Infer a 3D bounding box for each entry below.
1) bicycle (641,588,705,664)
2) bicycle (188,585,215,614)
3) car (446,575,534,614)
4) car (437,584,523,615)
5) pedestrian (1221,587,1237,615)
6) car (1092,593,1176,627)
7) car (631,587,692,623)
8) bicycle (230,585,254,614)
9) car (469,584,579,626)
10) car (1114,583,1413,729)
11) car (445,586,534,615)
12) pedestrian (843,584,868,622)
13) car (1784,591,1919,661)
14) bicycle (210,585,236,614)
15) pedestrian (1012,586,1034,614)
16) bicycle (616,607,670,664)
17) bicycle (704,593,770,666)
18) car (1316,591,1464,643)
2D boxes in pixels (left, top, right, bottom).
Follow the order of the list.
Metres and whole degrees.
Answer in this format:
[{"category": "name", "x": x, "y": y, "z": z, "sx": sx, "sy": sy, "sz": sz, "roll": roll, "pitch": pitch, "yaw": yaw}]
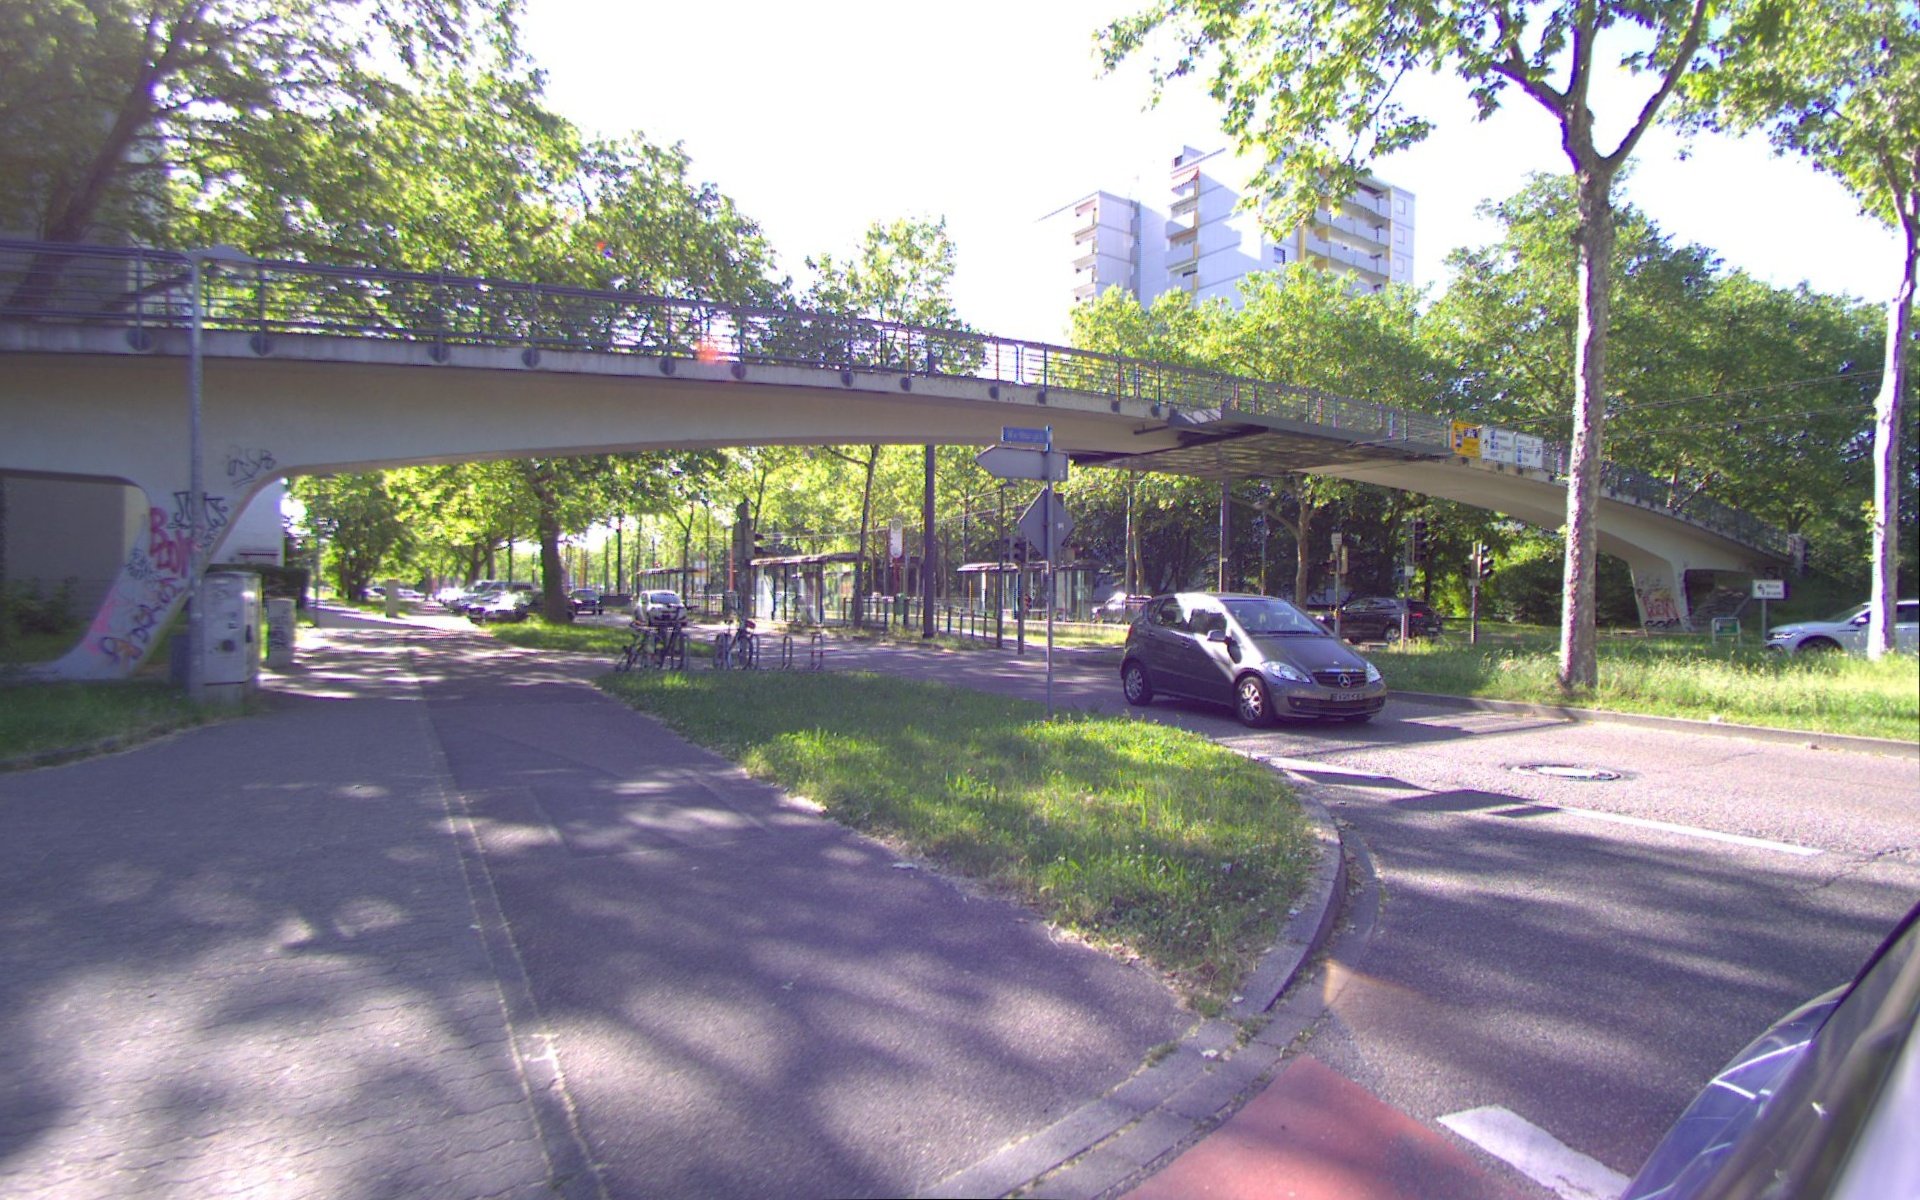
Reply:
[{"category": "bicycle", "x": -4.887, "y": 0.428, "z": 17.173, "sx": 0.580, "sy": 1.198, "sz": 1.802, "roll": 4, "pitch": -2, "yaw": -29}, {"category": "bicycle", "x": -30.017, "y": -0.034, "z": 40.068, "sx": 0.580, "sy": 1.121, "sz": 1.802, "roll": 0, "pitch": 0, "yaw": -29}, {"category": "car", "x": -27.495, "y": -0.304, "z": 59.351, "sx": 1.993, "sy": 2.079, "sz": 4.557, "roll": 2, "pitch": -1, "yaw": 21}, {"category": "car", "x": -24.531, "y": -0.020, "z": 51.843, "sx": 1.776, "sy": 1.435, "sz": 3.899, "roll": 2, "pitch": -1, "yaw": 18}, {"category": "pedestrian", "x": 16.076, "y": 0.043, "z": 60.524, "sx": 0.637, "sy": 1.682, "sz": 0.651, "roll": 0, "pitch": 0, "yaw": -28}, {"category": "car", "x": 8.427, "y": 0.450, "z": 49.479, "sx": 1.764, "sy": 1.586, "sz": 4.293, "roll": 0, "pitch": 0, "yaw": -29}, {"category": "car", "x": -13.748, "y": 0.226, "z": 46.416, "sx": 1.764, "sy": 1.558, "sz": 4.003, "roll": 1, "pitch": -1, "yaw": -30}, {"category": "bicycle", "x": -28.849, "y": -0.028, "z": 40.679, "sx": 0.580, "sy": 1.121, "sz": 1.802, "roll": 0, "pitch": 0, "yaw": -29}, {"category": "car", "x": -17.002, "y": 0.226, "z": 39.650, "sx": 1.776, "sy": 1.480, "sz": 3.978, "roll": 2, "pitch": -1, "yaw": 17}, {"category": "car", "x": 3.771, "y": 0.607, "z": 13.260, "sx": 1.762, "sy": 1.610, "sz": 3.770, "roll": 0, "pitch": 0, "yaw": -23}, {"category": "car", "x": -25.927, "y": 0.036, "z": 55.970, "sx": 1.778, "sy": 1.442, "sz": 4.559, "roll": 2, "pitch": -1, "yaw": 20}, {"category": "pedestrian", "x": -3.976, "y": 0.103, "z": 38.526, "sx": 0.712, "sy": 1.435, "sz": 0.683, "roll": -1, "pitch": 0, "yaw": -29}, {"category": "car", "x": 21.556, "y": 0.579, "z": 23.067, "sx": 4.055, "sy": 1.529, "sz": 1.780, "roll": 1, "pitch": 0, "yaw": 32}, {"category": "bicycle", "x": -29.414, "y": -0.028, "z": 40.399, "sx": 0.580, "sy": 1.121, "sz": 1.802, "roll": 0, "pitch": 0, "yaw": -29}, {"category": "pedestrian", "x": 2.912, "y": 0.001, "z": 46.766, "sx": 0.765, "sy": 1.253, "sz": 0.723, "roll": 0, "pitch": 0, "yaw": -30}, {"category": "bicycle", "x": -5.170, "y": 0.558, "z": 16.448, "sx": 0.496, "sy": 0.863, "sz": 1.475, "roll": 4, "pitch": -2, "yaw": -29}, {"category": "bicycle", "x": -3.933, "y": 0.500, "z": 17.754, "sx": 0.580, "sy": 1.198, "sz": 1.802, "roll": 4, "pitch": -2, "yaw": -29}, {"category": "car", "x": 14.209, "y": 0.513, "z": 33.673, "sx": 1.765, "sy": 1.586, "sz": 4.289, "roll": 0, "pitch": 0, "yaw": -34}]
